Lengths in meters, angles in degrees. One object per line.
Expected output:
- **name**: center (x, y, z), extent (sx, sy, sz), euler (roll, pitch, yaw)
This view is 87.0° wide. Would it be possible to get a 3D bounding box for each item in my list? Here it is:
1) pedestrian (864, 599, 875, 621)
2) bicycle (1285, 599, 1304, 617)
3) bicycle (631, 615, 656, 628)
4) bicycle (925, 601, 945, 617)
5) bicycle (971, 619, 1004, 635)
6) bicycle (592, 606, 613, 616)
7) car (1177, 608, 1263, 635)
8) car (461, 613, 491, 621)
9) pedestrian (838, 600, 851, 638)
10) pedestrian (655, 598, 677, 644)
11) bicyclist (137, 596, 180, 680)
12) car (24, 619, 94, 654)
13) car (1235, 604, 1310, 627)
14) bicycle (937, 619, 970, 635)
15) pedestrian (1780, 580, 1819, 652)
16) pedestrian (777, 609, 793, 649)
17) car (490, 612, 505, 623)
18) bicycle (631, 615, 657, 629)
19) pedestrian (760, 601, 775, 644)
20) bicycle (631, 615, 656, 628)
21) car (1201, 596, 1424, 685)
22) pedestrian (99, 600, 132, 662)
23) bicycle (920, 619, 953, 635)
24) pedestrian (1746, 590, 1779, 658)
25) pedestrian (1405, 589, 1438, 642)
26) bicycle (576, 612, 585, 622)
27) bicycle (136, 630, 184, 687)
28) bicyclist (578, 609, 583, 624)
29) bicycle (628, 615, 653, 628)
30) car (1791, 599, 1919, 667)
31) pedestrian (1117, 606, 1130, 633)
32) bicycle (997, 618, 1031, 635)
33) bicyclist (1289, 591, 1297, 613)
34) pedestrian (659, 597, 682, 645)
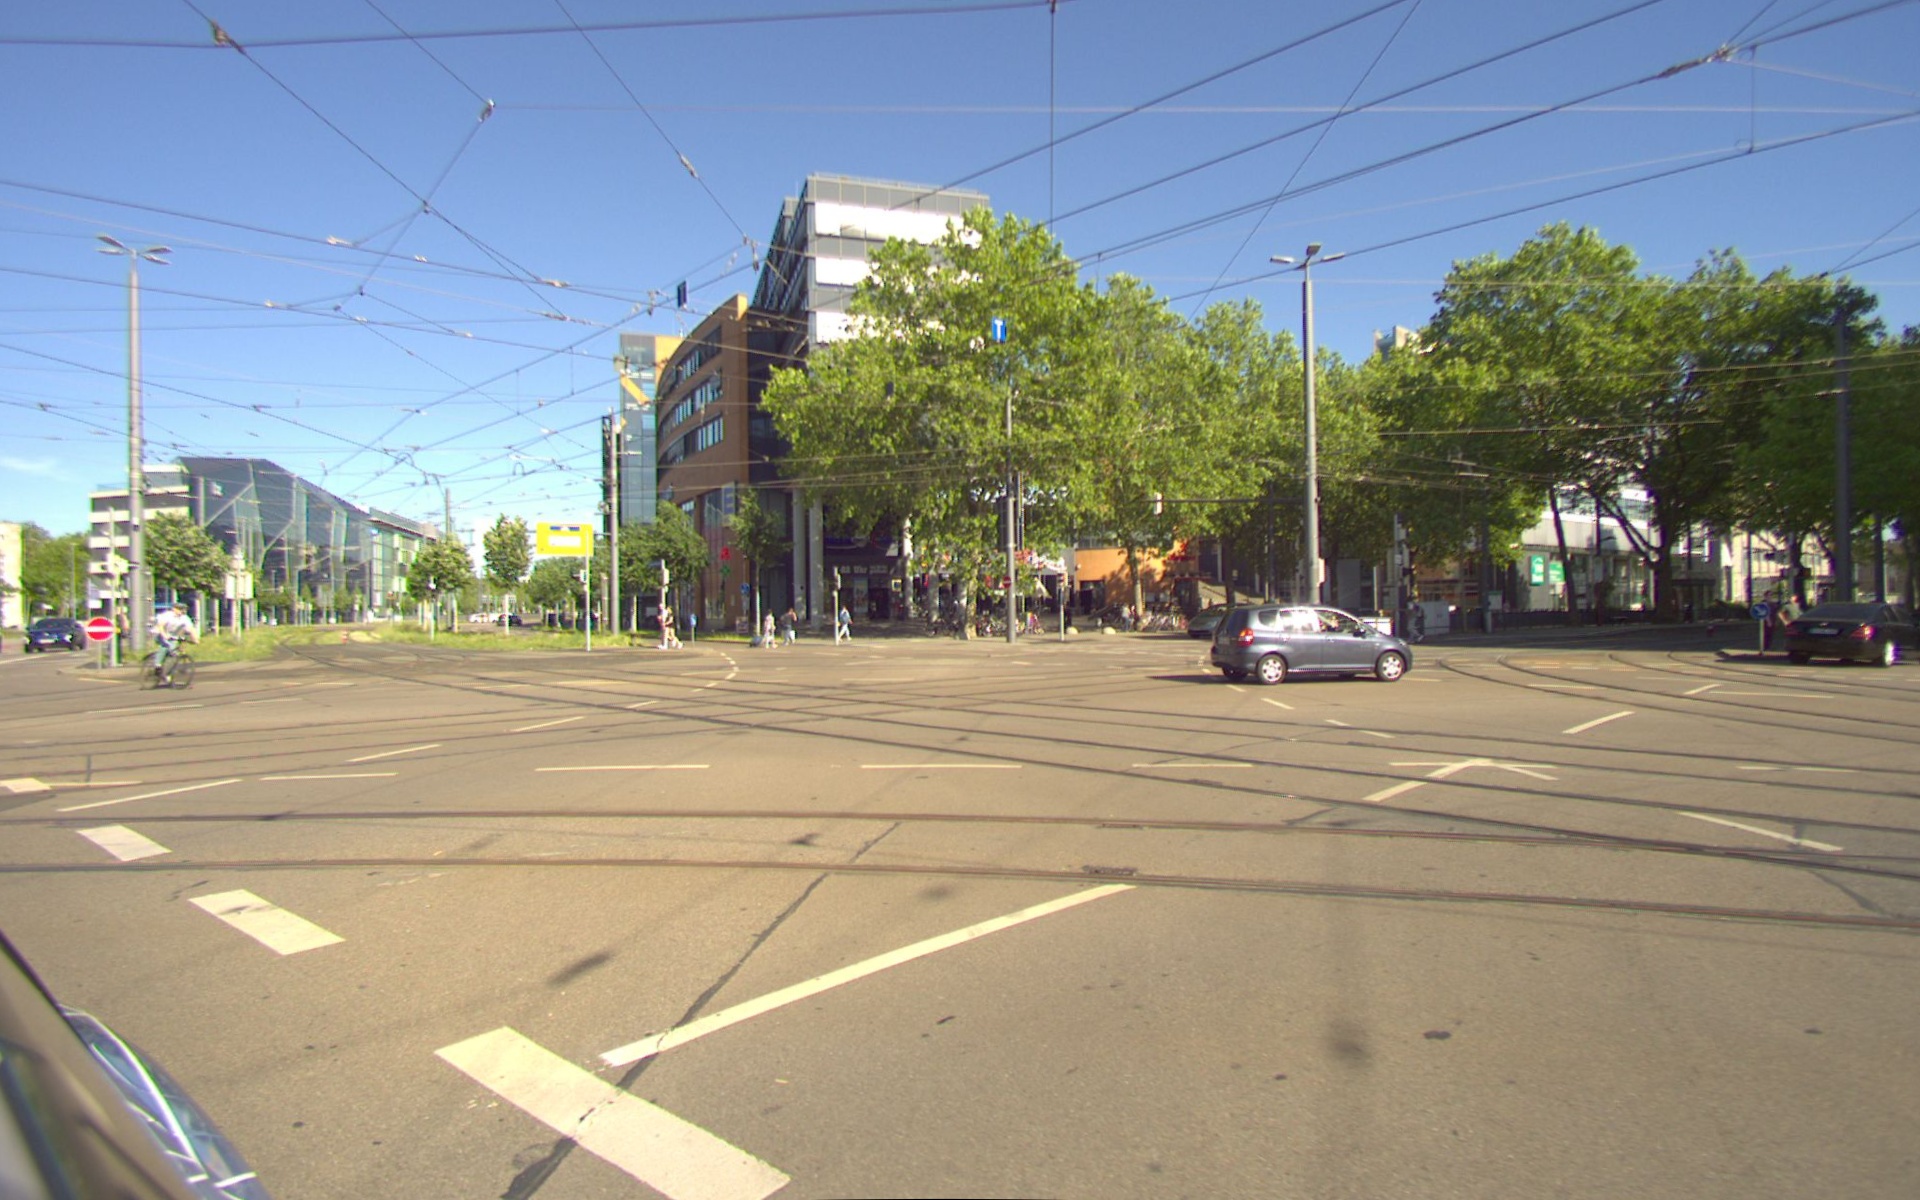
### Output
- **pedestrian**: center (-6.806, 0.773, 75.892), extent (0.499, 1.636, 0.790), euler (-1, 1, -33)
- **bicycle**: center (25.966, 0.621, 78.510), extent (0.466, 1.363, 2.338), euler (-1, -1, 42)
- **bicycle**: center (-29.191, 1.995, 93.324), extent (2.142, 1.132, 0.756), euler (-2, 0, -24)
- **bicycle**: center (-1.791, 0.644, 72.634), extent (0.486, 1.143, 1.808), euler (0, -1, -34)
- **bicycle**: center (1.429, 1.372, 51.835), extent (2.000, 0.805, 0.376), euler (0, -1, -43)
- **bicycle**: center (-40.211, 1.226, 113.843), extent (2.142, 0.961, 0.494), euler (-2, 0, -24)
- **car**: center (12.923, 1.064, 50.222), extent (3.933, 1.240, 2.005), euler (-1, -1, -34)
- **car**: center (-74.275, 2.560, 155.376), extent (3.930, 1.098, 2.007), euler (-1, -1, -22)
- **pedestrian**: center (-5.752, 0.944, 50.312), extent (0.455, 1.845, 0.459), euler (-1, -1, 19)
- **pedestrian**: center (-11.998, 0.855, 41.319), extent (0.750, 1.845, 0.626), euler (0, -1, -28)
- **bicyclist**: center (-16.667, 0.770, 21.045), extent (0.610, 1.682, 1.021), euler (-2, 0, -41)
- **car**: center (-42.106, 1.668, 47.365), extent (1.843, 1.568, 4.011), euler (0, -1, -33)
- **car**: center (16.701, 0.802, 54.012), extent (3.933, 1.152, 1.786), euler (-1, -1, -34)
- **bicycle**: center (-0.348, 1.415, 53.582), extent (2.000, 0.805, 0.376), euler (0, -1, -43)
- **pedestrian**: center (23.041, 0.438, 27.769), extent (0.751, 1.947, 0.517), euler (-2, -1, 44)
- **pedestrian**: center (-8.262, 1.359, 47.836), extent (0.494, 1.845, 0.579), euler (-1, -1, 19)
- **car**: center (-60.042, 2.276, 131.324), extent (1.408, 1.370, 3.305), euler (-1, -1, -31)
- **bicycle**: center (-28.520, 1.964, 91.471), extent (2.142, 1.132, 0.756), euler (-2, 0, -24)
- **pedestrian**: center (-8.211, 0.966, 43.239), extent (0.461, 1.845, 0.383), euler (-1, -1, 25)
- **bicycle**: center (-29.501, 2.010, 94.291), extent (2.142, 1.132, 0.756), euler (-2, 0, -24)
- **car**: center (6.731, 0.746, 19.503), extent (3.618, 1.576, 1.735), euler (-1, -1, -9)
- **pedestrian**: center (-24.587, 0.889, 29.465), extent (0.769, 1.766, 0.662), euler (-2, -1, 44)
- **bicycle**: center (-1.257, 1.430, 54.403), extent (2.000, 0.805, 0.376), euler (0, -1, -43)
- **pedestrian**: center (23.342, 0.686, 29.446), extent (0.515, 1.947, 0.530), euler (0, -1, -20)
- **pedestrian**: center (17.116, 0.573, 37.560), extent (0.905, 1.947, 0.693), euler (-2, -1, 44)
- **bicycle**: center (-36.296, 1.617, 96.726), extent (0.348, 0.933, 1.900), euler (0, 1, -34)
- **bicycle**: center (-16.670, 1.180, 21.066), extent (0.678, 1.077, 2.701), euler (-2, 0, -40)
- **bicyclist**: center (-36.293, 1.581, 96.719), extent (0.336, 1.387, 0.483), euler (0, 0, -34)
- **bicycle**: center (-30.182, 2.027, 95.691), extent (2.142, 1.132, 0.756), euler (-2, 0, -24)
- **car**: center (21.385, 0.721, 23.853), extent (4.447, 1.460, 1.736), euler (0, -1, -37)
- **pedestrian**: center (9.253, 1.103, 57.276), extent (0.638, 1.463, 0.502), euler (-1, -1, -7)
- **bicycle**: center (2.742, 1.345, 51.233), extent (2.000, 0.805, 0.376), euler (0, -1, -43)
- **bicyclist**: center (25.768, 0.163, 78.300), extent (0.466, 1.734, 0.478), euler (-1, -1, 43)
- **pedestrian**: center (-11.373, 0.828, 39.741), extent (0.750, 1.845, 0.627), euler (-1, -1, -24)
